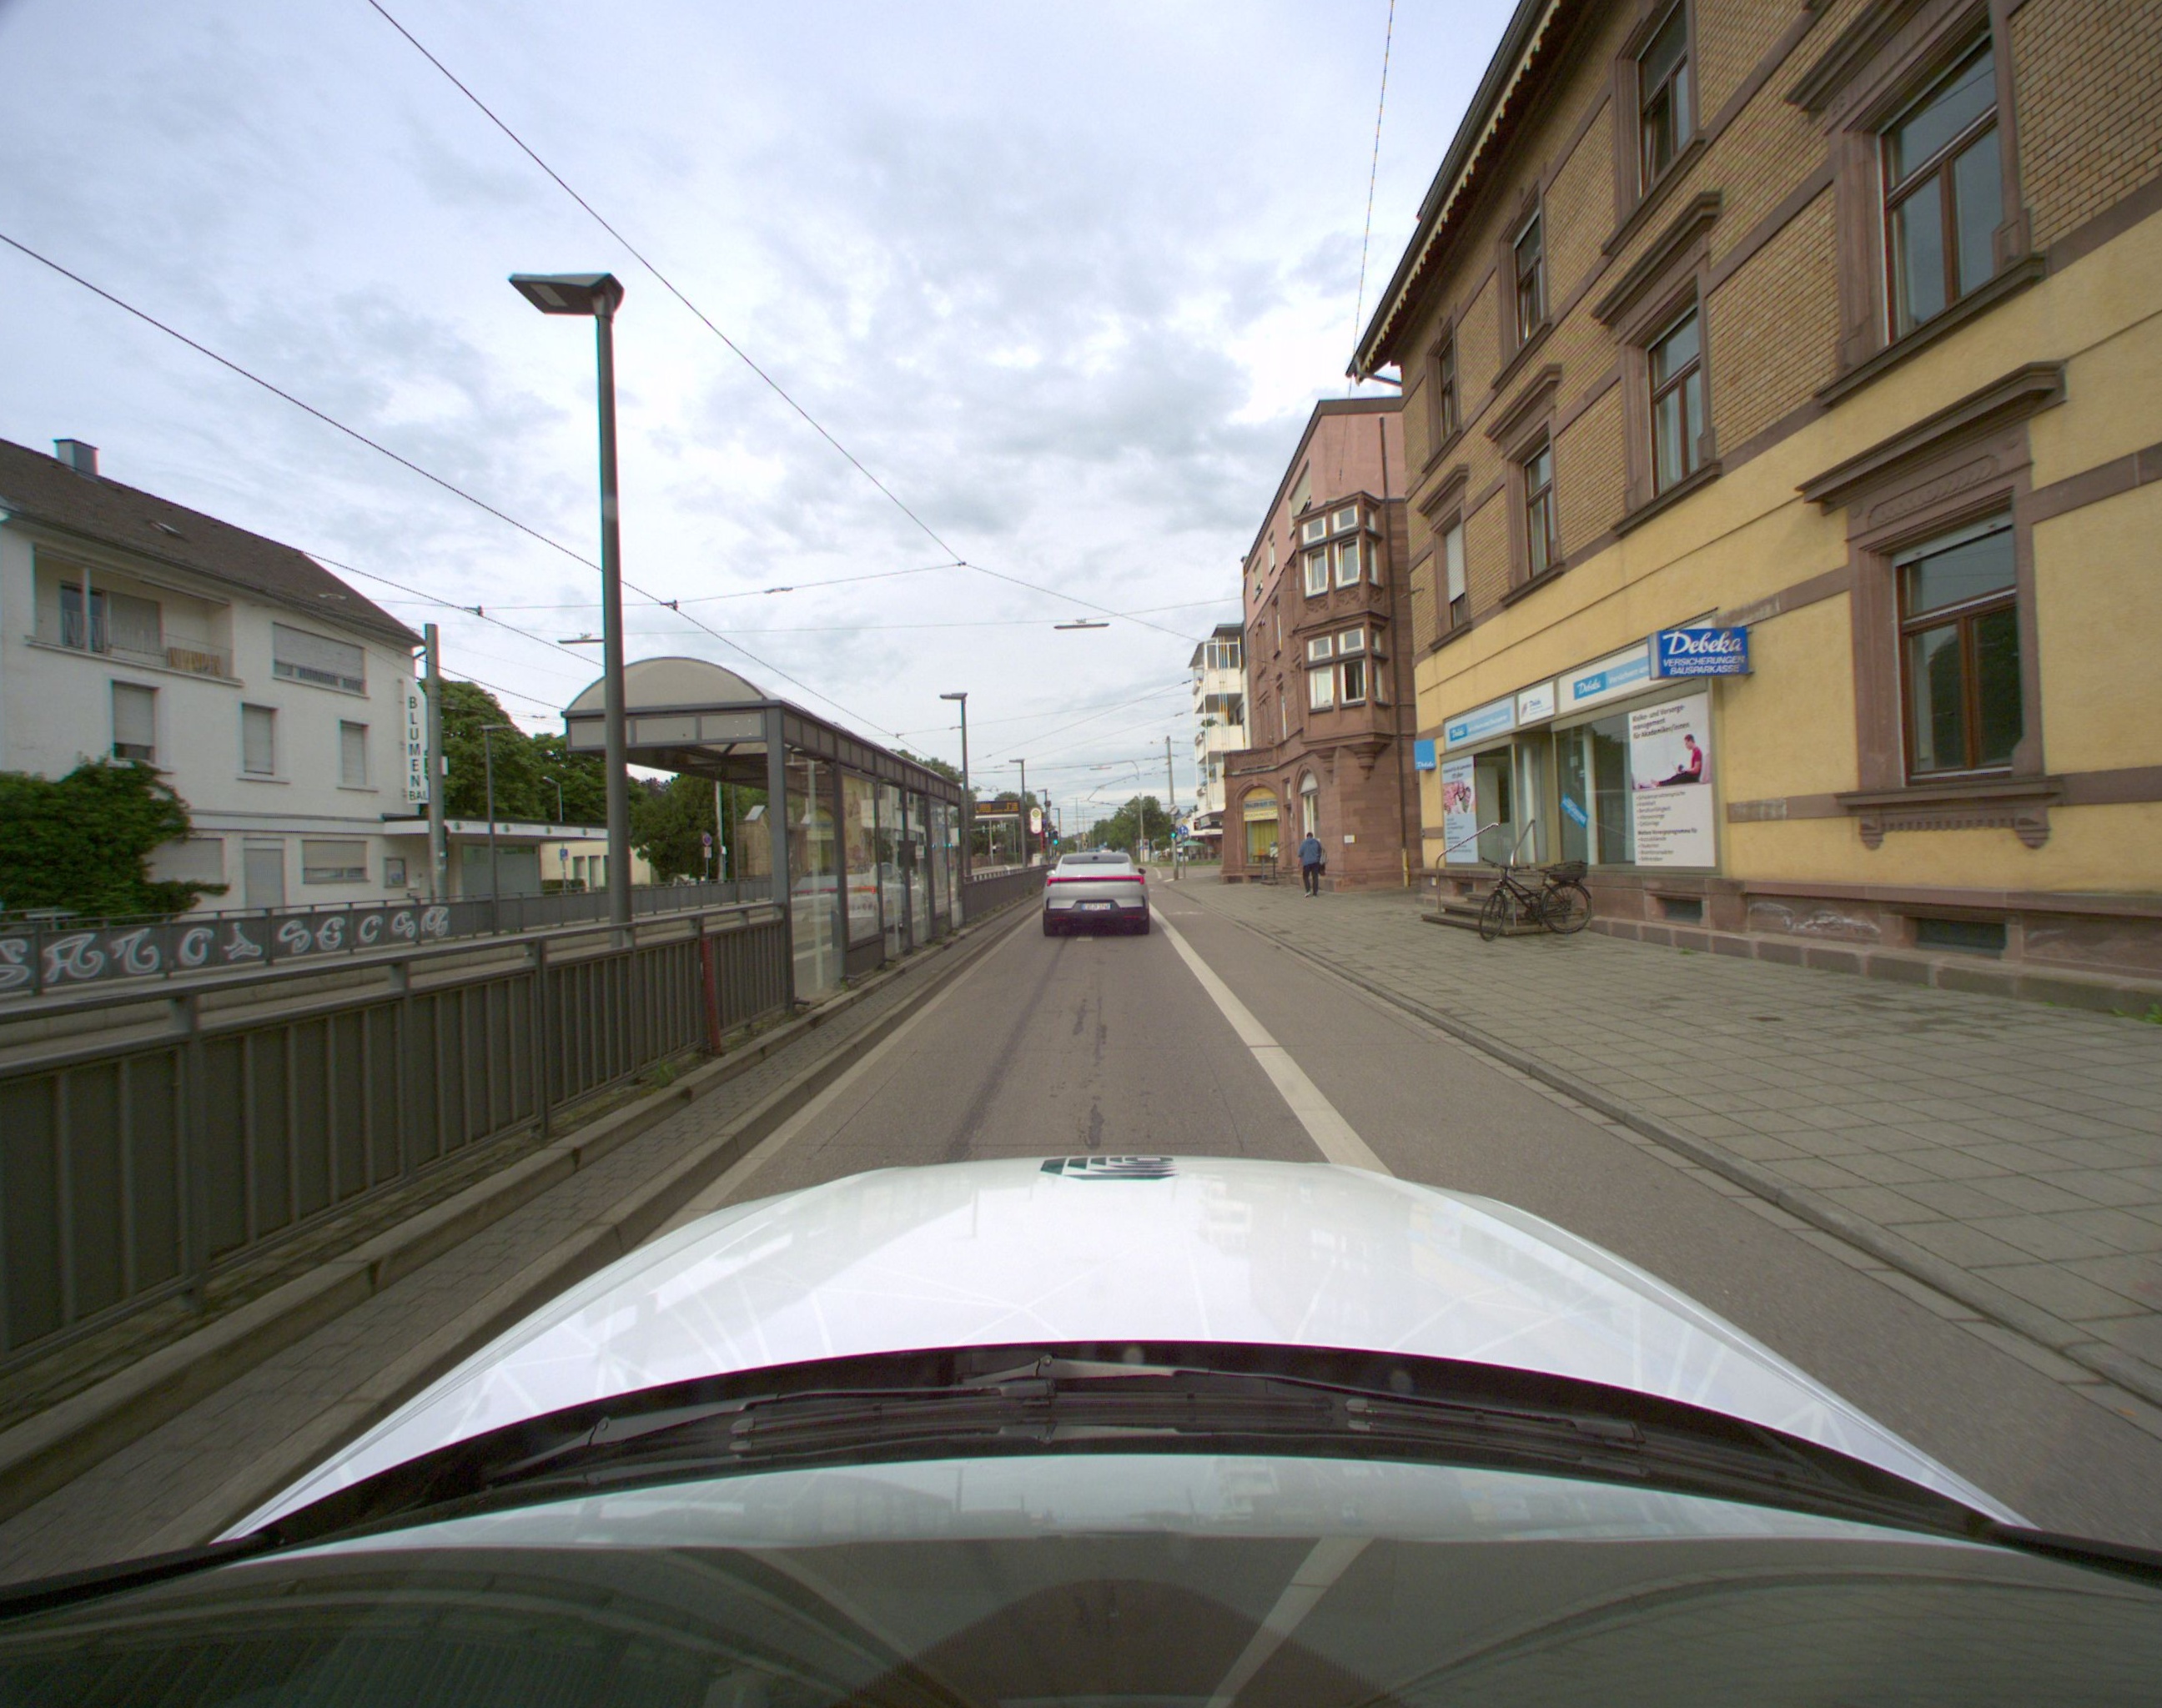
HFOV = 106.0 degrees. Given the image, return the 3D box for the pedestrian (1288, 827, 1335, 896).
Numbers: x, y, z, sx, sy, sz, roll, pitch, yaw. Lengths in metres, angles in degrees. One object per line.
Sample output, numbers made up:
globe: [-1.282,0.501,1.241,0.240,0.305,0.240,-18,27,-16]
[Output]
pedestrian: [6.574,0.202,23.263,0.957,1.850,0.976,-4,0,2]

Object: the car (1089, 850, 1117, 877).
car: [1.447,0.614,52.777,1.674,1.687,3.825,-1,-1,2]

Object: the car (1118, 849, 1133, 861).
car: [9.306,0.184,170.995,2.796,2.505,5.724,-1,-1,2]

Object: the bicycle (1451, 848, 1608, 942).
bicycle: [6.235,0.557,11.383,1.771,1.129,0.642,-5,0,0]

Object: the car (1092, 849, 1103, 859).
car: [3.344,0.003,163.382,1.986,2.013,4.001,-2,0,2]

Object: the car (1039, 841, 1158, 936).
car: [0.214,0.619,15.909,1.995,1.581,3.996,-1,-1,-3]

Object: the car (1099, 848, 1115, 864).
car: [4.188,0.320,130.075,2.220,2.402,5.119,-1,-1,-2]
